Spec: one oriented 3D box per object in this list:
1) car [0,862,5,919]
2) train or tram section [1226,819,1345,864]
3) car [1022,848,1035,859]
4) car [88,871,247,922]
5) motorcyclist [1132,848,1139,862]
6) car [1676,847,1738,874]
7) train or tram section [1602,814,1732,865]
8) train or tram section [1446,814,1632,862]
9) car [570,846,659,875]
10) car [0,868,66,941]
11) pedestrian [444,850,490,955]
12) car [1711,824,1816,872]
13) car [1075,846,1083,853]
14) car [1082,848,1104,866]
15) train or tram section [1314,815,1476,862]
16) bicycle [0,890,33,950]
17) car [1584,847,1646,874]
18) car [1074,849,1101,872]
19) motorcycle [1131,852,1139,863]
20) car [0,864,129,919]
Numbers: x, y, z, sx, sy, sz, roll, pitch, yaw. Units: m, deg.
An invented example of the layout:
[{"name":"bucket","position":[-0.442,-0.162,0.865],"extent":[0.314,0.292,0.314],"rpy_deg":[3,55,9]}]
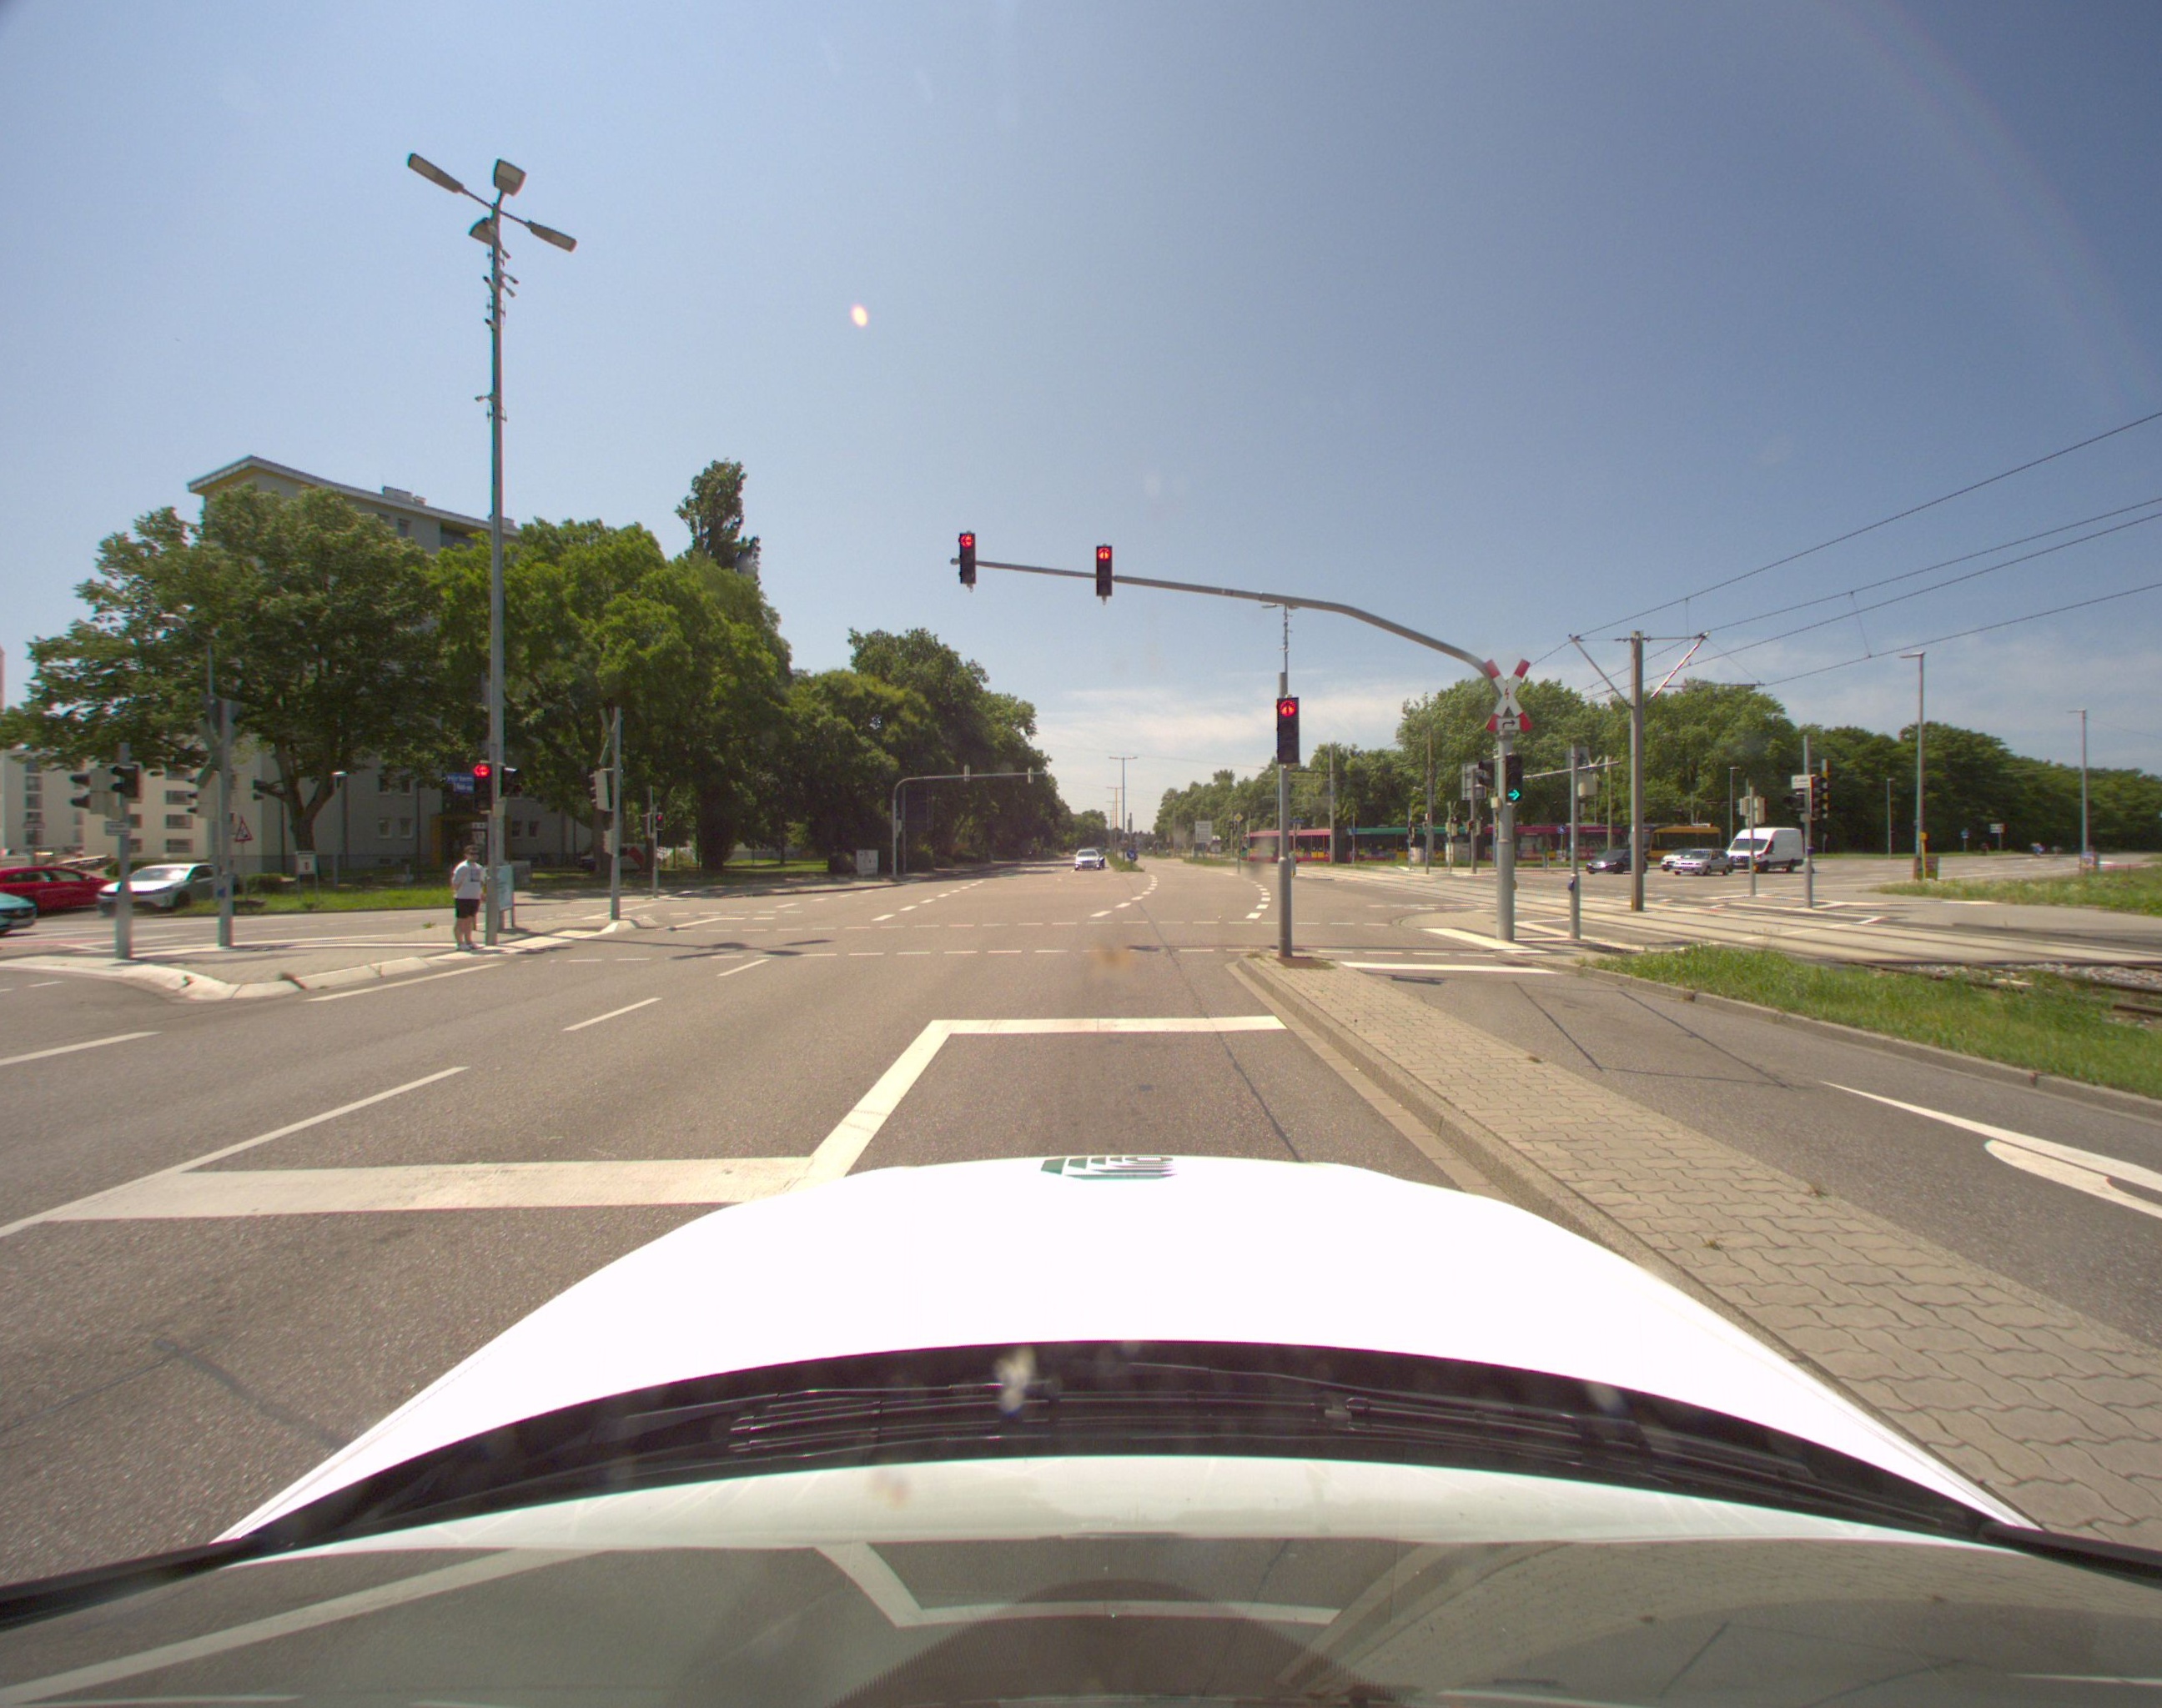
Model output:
[{"name":"car","position":[-34.477,1.170,23.825],"extent":[1.710,1.800,3.972],"rpy_deg":[1,0,-21]},{"name":"train or tram section","position":[20.203,-1.103,81.757],"extent":[2.935,3.812,12.933],"rpy_deg":[3,-3,-35]},{"name":"car","position":[-9.567,-0.071,148.954],"extent":[1.988,2.013,3.998],"rpy_deg":[3,0,-1]},{"name":"car","position":[-28.951,1.299,25.990],"extent":[1.629,1.380,3.974],"rpy_deg":[1,0,-20]},{"name":"motorcyclist","position":[6.340,0.105,95.193],"extent":[0.787,1.643,1.211],"rpy_deg":[1,0,1]},{"name":"car","position":[35.173,0.343,45.762],"extent":[3.821,1.463,1.623],"rpy_deg":[-1,0,-33]},{"name":"train or tram section","position":[52.024,-1.156,72.122],"extent":[13.985,3.920,2.899],"rpy_deg":[2,-3,-25]},{"name":"train or tram section","position":[39.158,-1.347,70.102],"extent":[13.924,3.920,2.928],"rpy_deg":[0,-3,6]},{"name":"car","position":[-29.257,0.371,51.185],"extent":[1.769,1.768,4.577],"rpy_deg":[0,0,42]},{"name":"car","position":[-24.284,1.067,16.724],"extent":[3.902,1.468,1.762],"rpy_deg":[-1,0,-23]},{"name":"pedestrian","position":[-10.101,0.782,13.416],"extent":[0.381,1.687,0.485],"rpy_deg":[0,0,-2]},{"name":"car","position":[42.121,-0.386,50.210],"extent":[7.306,2.802,2.691],"rpy_deg":[-1,0,-30]},{"name":"car","position":[-0.455,-1.024,191.421],"extent":[1.664,1.490,3.713],"rpy_deg":[0,0,2]},{"name":"car","position":[0.971,0.235,65.429],"extent":[1.704,1.365,3.867],"rpy_deg":[0,0,2]},{"name":"train or tram section","position":[28.139,-1.306,73.475],"extent":[13.285,3.812,2.941],"rpy_deg":[-1,-3,29]},{"name":"bicycle","position":[-21.194,1.253,15.231],"extent":[1.870,1.093,0.642],"rpy_deg":[-1,0,-21]},{"name":"car","position":[31.080,0.359,47.389],"extent":[3.519,1.463,1.624],"rpy_deg":[-1,0,-30]},{"name":"car","position":[0.507,0.434,58.203],"extent":[1.777,1.628,3.867],"rpy_deg":[0,0,2]},{"name":"motorcycle","position":[6.321,0.433,95.048],"extent":[0.844,1.255,2.449],"rpy_deg":[1,0,1]},{"name":"car","position":[-31.678,1.078,24.683],"extent":[1.620,1.464,3.981],"rpy_deg":[1,0,-14]}]
